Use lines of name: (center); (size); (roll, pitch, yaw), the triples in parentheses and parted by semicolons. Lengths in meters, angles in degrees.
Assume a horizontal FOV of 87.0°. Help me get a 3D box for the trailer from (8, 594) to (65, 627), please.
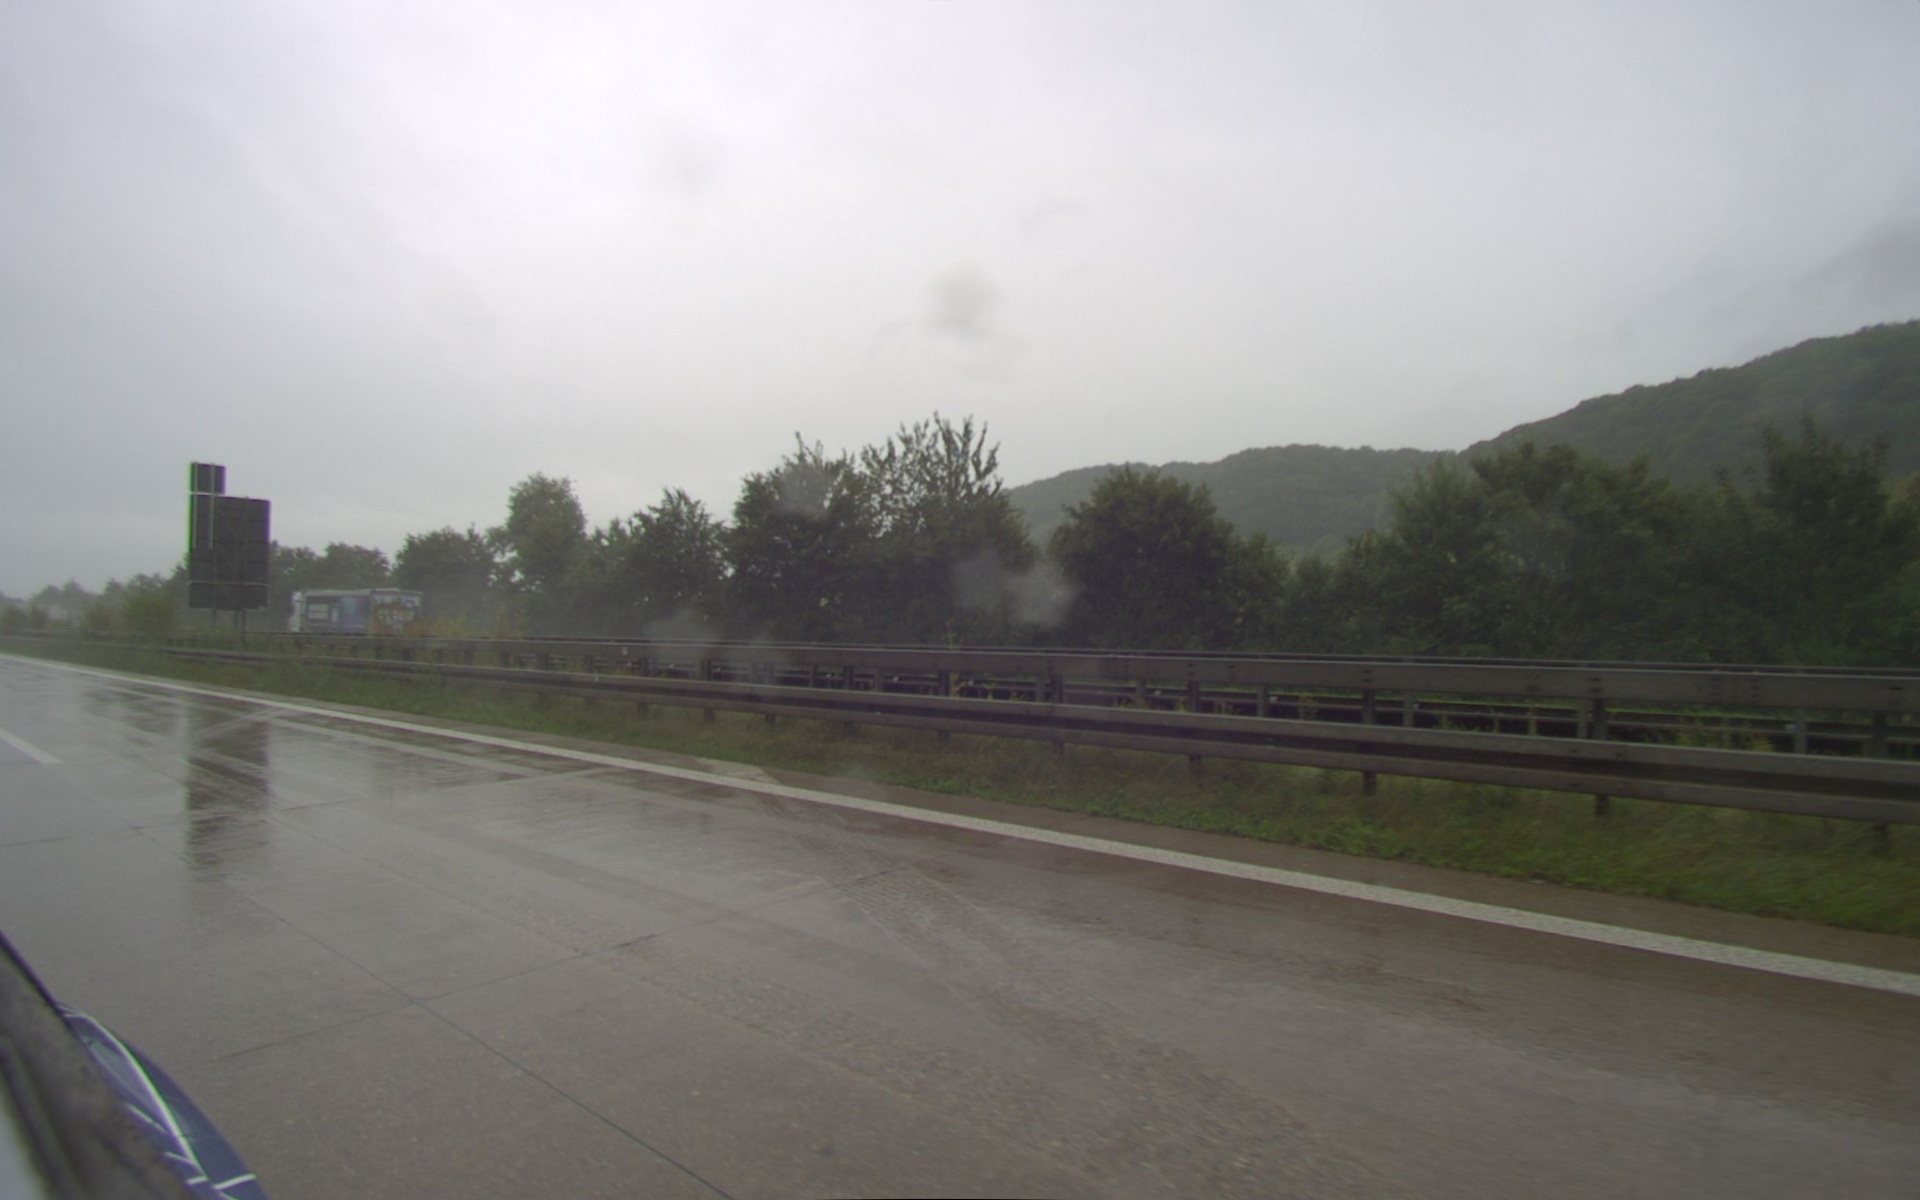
trailer: (-105.031, 1.188, 115.030); (13.694, 3.569, 2.824); (-1, 0, 39)

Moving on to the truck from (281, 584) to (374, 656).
truck: (-38.755, 1.233, 61.983); (5.515, 4.216, 3.339); (-1, -1, 40)

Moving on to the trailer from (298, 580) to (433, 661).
trailer: (-34.259, 1.181, 58.027); (11.396, 4.205, 3.320); (-1, -1, 41)
